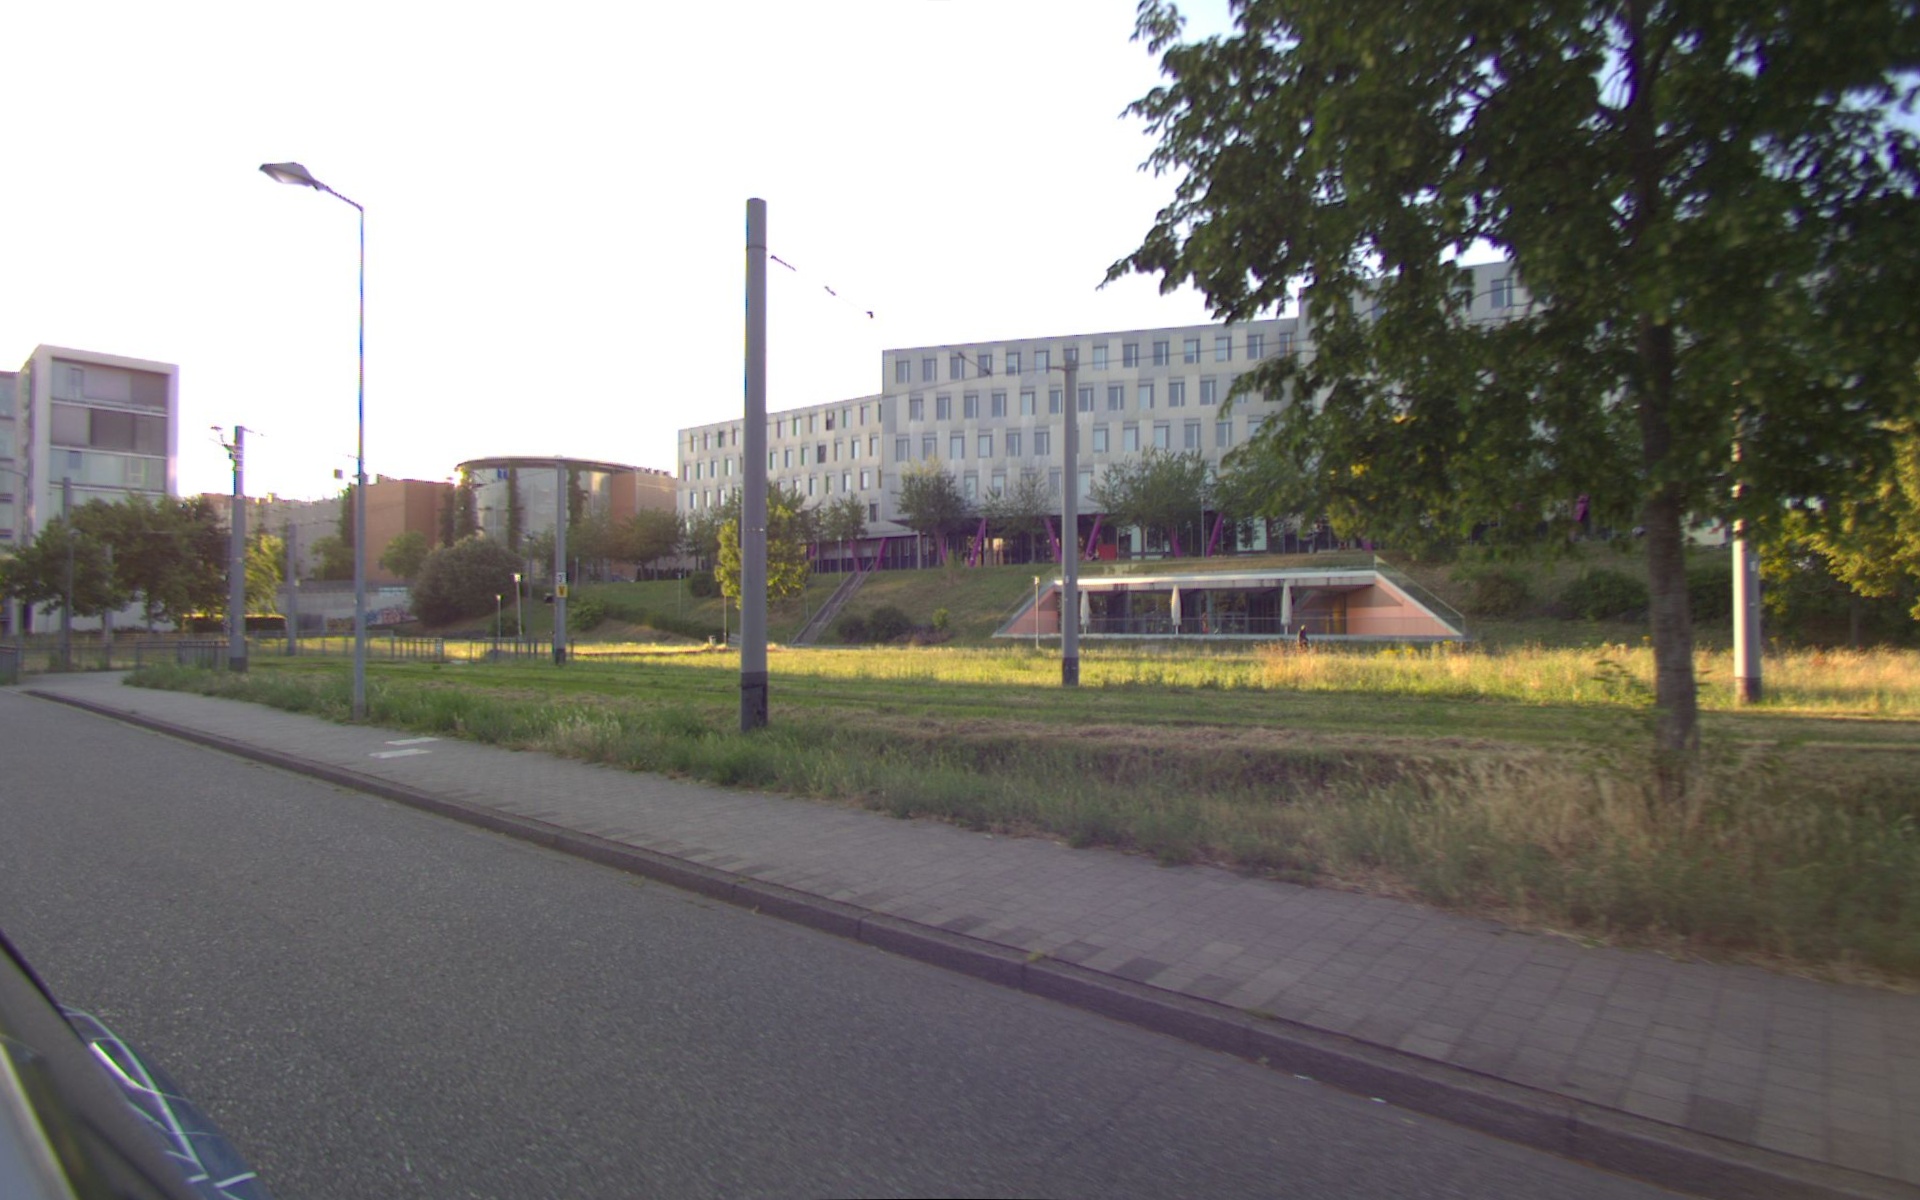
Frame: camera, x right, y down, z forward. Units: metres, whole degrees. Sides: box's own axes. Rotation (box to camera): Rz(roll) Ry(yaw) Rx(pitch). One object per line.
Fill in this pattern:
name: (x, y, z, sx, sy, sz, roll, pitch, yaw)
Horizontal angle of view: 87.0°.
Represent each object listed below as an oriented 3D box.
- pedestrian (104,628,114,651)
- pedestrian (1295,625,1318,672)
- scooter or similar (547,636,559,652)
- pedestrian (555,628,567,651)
pedestrian: (-69.414, 3.193, 82.572, 0.480, 1.850, 0.446, -2, 0, 20)
pedestrian: (15.901, 2.232, 46.497, 0.790, 2.098, 0.610, -2, 0, 40)
scooter or similar: (-34.136, 3.690, 84.788, 0.790, 1.253, 0.610, -2, 0, 40)
pedestrian: (-33.267, 3.307, 84.344, 0.790, 1.850, 0.610, -2, 0, 40)
